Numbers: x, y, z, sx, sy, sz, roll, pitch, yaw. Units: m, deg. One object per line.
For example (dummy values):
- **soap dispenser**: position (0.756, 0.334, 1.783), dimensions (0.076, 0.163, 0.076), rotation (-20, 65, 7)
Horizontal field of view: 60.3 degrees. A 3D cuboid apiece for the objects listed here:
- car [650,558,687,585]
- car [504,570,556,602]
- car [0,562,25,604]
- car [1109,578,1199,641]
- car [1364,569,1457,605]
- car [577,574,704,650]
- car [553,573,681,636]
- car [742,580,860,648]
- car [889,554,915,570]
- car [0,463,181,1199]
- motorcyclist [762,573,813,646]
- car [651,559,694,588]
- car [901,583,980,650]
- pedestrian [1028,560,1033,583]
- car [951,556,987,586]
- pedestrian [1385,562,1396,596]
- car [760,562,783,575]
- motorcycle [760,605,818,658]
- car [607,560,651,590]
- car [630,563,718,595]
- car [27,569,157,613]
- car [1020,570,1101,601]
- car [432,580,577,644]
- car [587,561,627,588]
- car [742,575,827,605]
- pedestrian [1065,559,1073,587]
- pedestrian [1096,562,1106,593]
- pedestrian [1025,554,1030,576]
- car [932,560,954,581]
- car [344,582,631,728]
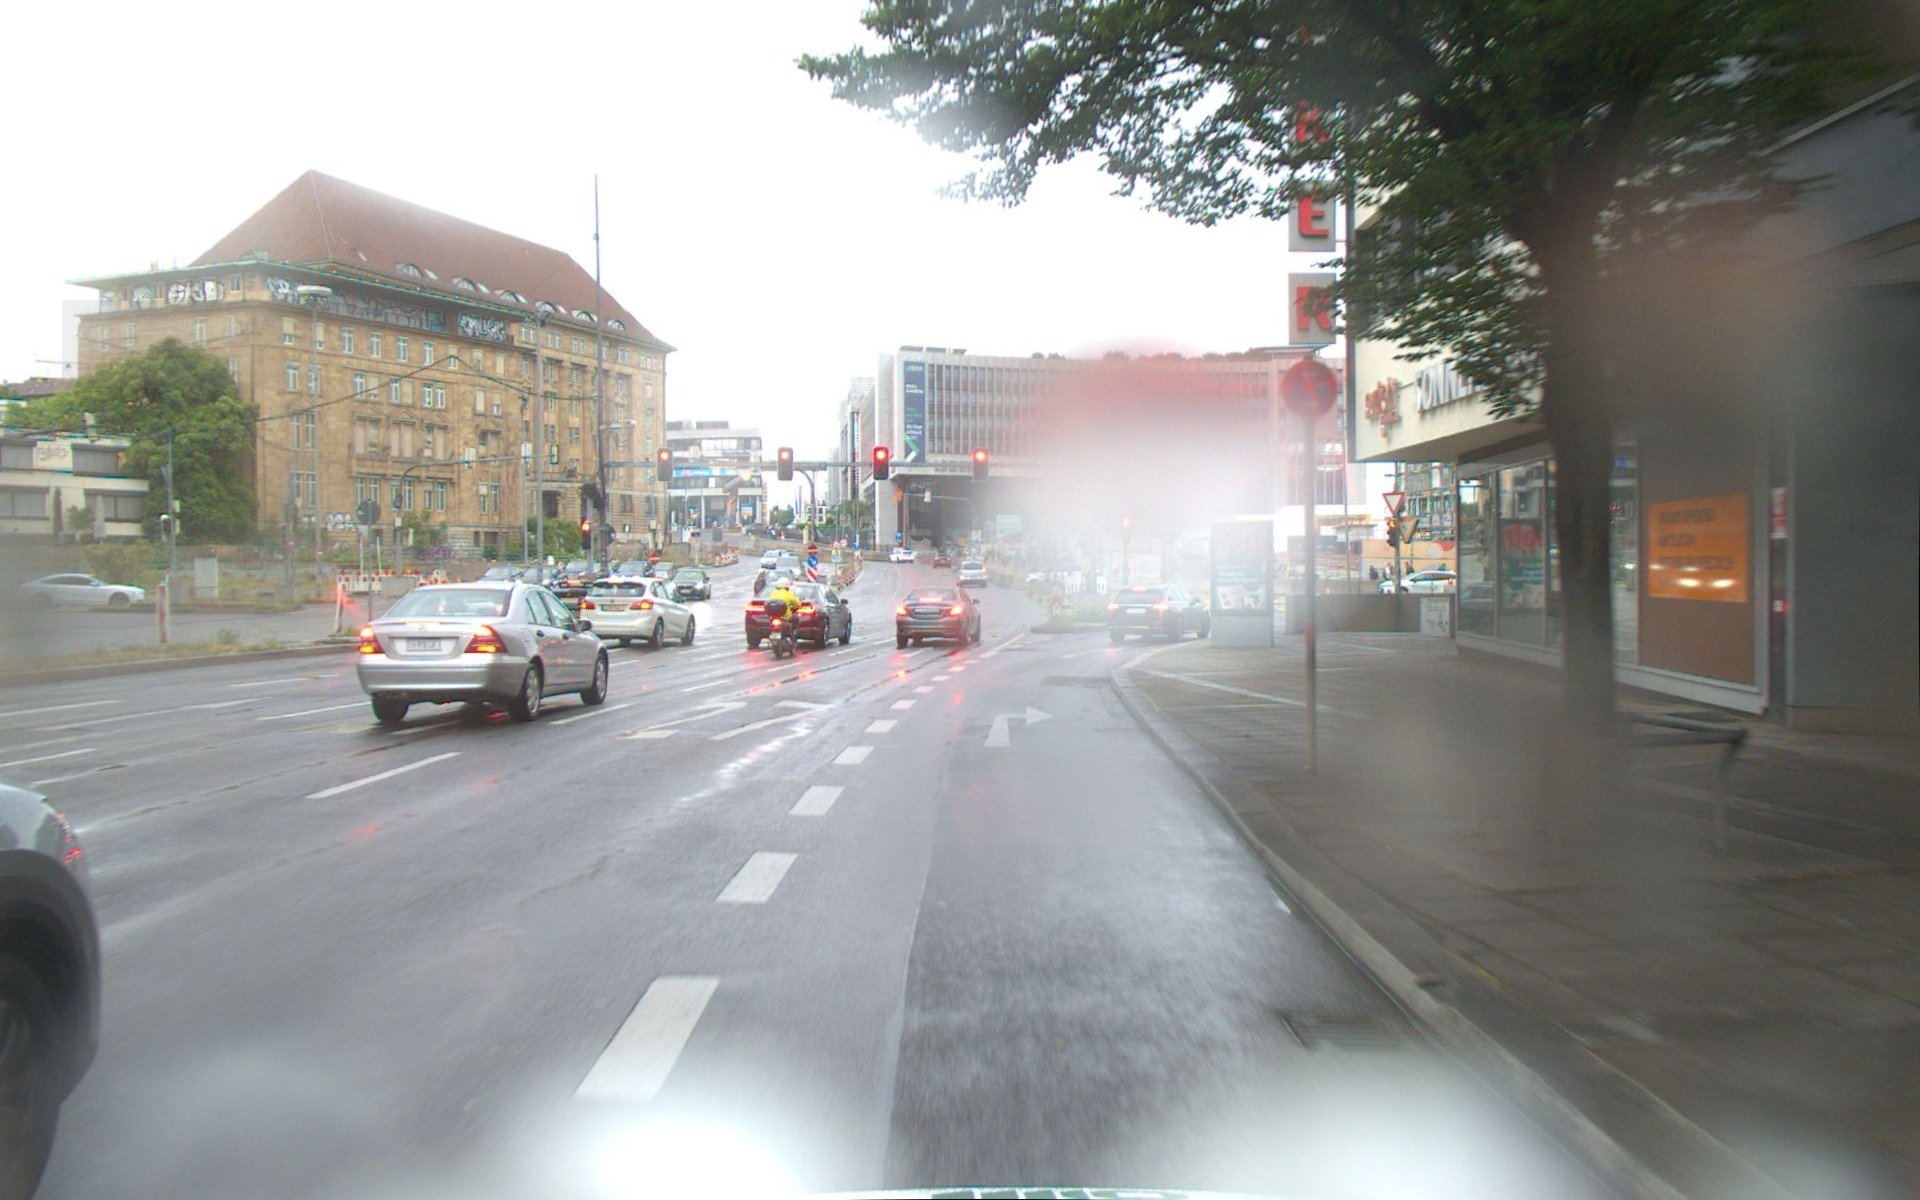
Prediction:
- **car**: position (-17.814, -1.731, 101.193), dimensions (1.663, 1.601, 3.998), rotation (0, 1, -2)
- **car**: position (-22.105, -0.757, 85.108), dimensions (1.663, 1.545, 3.874), rotation (-2, 1, 0)
- **car**: position (-48.645, -0.845, 81.511), dimensions (4.149, 2.049, 1.989), rotation (0, 0, -19)
- **car**: position (5.175, 0.232, 43.721), dimensions (1.851, 1.571, 3.996), rotation (1, 1, 15)
- **car**: position (23.127, -0.681, 84.978), dimensions (4.311, 1.796, 2.001), rotation (0, 0, 5)
- **car**: position (-7.355, 0.243, 38.423), dimensions (1.696, 1.644, 4.003), rotation (0, 1, 8)
- **car**: position (-9.231, 0.099, 44.860), dimensions (1.745, 1.627, 4.076), rotation (1, 1, 15)
- **car**: position (-3.771, 0.292, 40.065), dimensions (1.847, 1.541, 5.006), rotation (0, 1, 6)
- **car**: position (-6.835, -4.439, 193.540), dimensions (1.964, 1.847, 3.977), rotation (0, 1, -20)
- **car**: position (-2.873, 0.565, 2.191), dimensions (1.771, 1.690, 4.170), rotation (0, 1, -1)
- **motorcyclist**: position (-3.606, 0.197, 34.685), dimensions (0.922, 1.501, 1.100), rotation (0, 0, 1)
- **car**: position (-15.654, -1.465, 90.334), dimensions (1.784, 1.511, 3.999), rotation (-1, 2, -3)
- **car**: position (-0.444, 0.374, 41.754), dimensions (1.746, 1.426, 4.489), rotation (0, 2, 2)
- **pedestrian**: position (5.791, -2.346, 136.061), dimensions (0.354, 1.931, 0.576), rotation (0, 0, -5)
- **car**: position (0.539, -1.840, 104.235), dimensions (1.696, 1.668, 3.428), rotation (0, 4, -9)
- **pedestrian**: position (24.284, -1.202, 93.315), dimensions (0.563, 1.931, 0.362), rotation (0, 0, 1)
- **car**: position (-18.662, -3.131, 163.996), dimensions (1.731, 1.282, 4.194), rotation (0, 1, 0)
- **motorcycle**: position (-3.573, 0.647, 34.727), dimensions (0.922, 1.006, 2.295), rotation (0, 1, 1)
- **car**: position (-18.448, -1.386, 92.331), dimensions (1.765, 1.601, 4.073), rotation (0, 1, -2)
- **car**: position (-14.068, -1.046, 81.333), dimensions (4.029, 1.533, 1.993), rotation (1, 1, 35)
- **car**: position (-34.934, -0.359, 66.690), dimensions (4.311, 1.691, 1.991), rotation (0, 0, -17)
- **car**: position (5.407, -0.784, 89.387), dimensions (3.914, 1.668, 1.996), rotation (1, 1, 31)
- **car**: position (-10.526, 0.251, 38.522), dimensions (1.745, 1.397, 3.997), rotation (0, 1, 9)
- **car**: position (-21.161, -1.522, 99.140), dimensions (1.663, 1.601, 3.998), rotation (0, 1, -2)
- **car**: position (-8.445, -0.491, 79.488), dimensions (4.042, 1.368, 1.987), rotation (1, 1, 44)
- **pedestrian**: position (7.695, -1.912, 116.763), dimensions (0.355, 1.931, 0.574), rotation (0, 0, -13)
- **pedestrian**: position (8.851, -1.399, 103.959), dimensions (0.358, 1.931, 0.569), rotation (0, 0, -34)
- **pedestrian**: position (6.082, -3.138, 149.302), dimensions (0.354, 1.931, 0.576), rotation (0, 0, -5)
- **car**: position (-1.710, -2.877, 161.938), dimensions (1.954, 2.049, 3.997), rotation (0, 0, -3)
- **car**: position (-5.117, 0.525, 18.574), dimensions (1.696, 1.428, 4.385), rotation (0, 1, 4)
